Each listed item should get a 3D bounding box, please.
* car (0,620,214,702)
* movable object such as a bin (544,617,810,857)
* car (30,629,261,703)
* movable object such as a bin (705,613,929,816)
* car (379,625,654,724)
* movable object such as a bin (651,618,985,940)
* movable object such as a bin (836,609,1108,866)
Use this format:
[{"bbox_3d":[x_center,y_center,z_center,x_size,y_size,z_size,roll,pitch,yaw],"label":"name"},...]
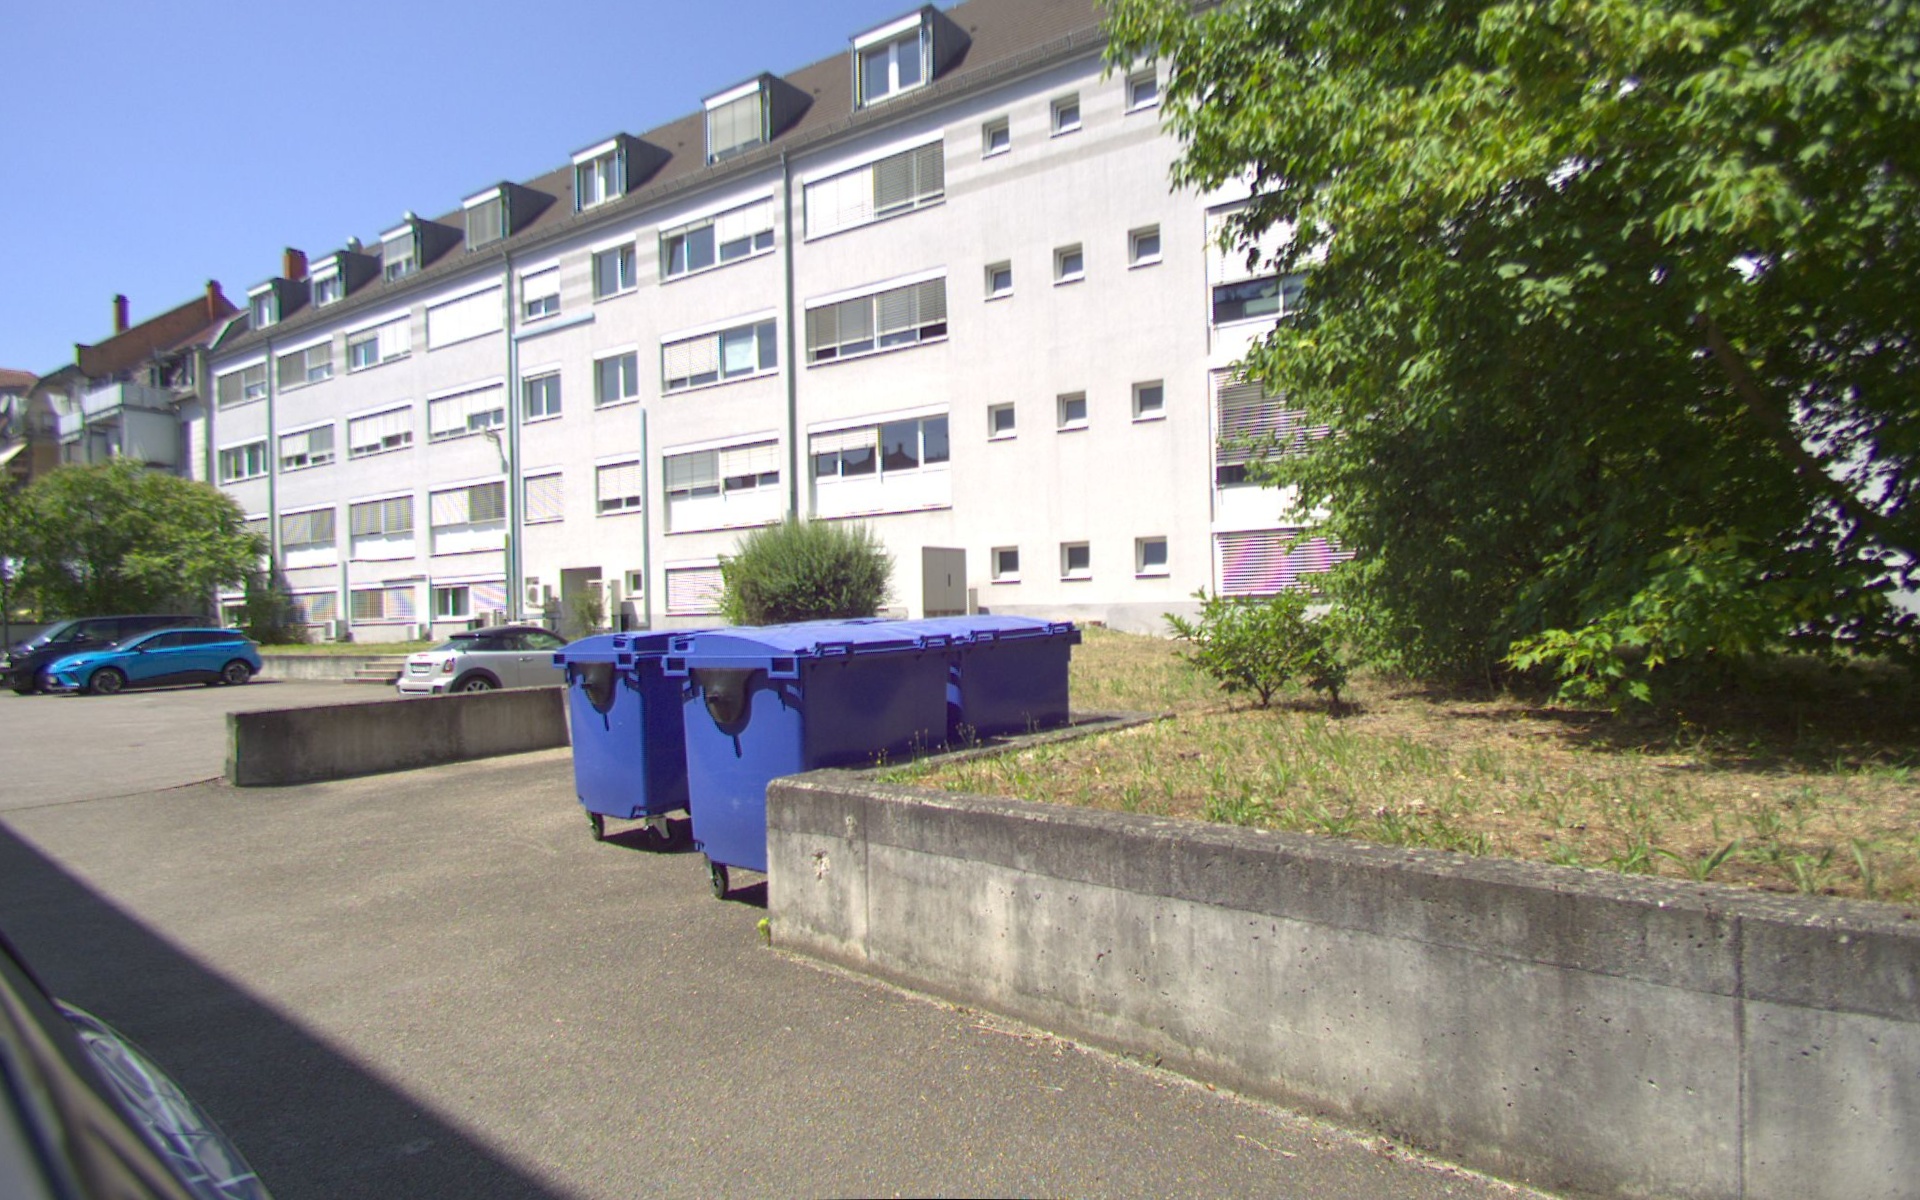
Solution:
[{"bbox_3d":[-22.484,1.515,26.462,1.995,1.846,4.398,-2,0,35],"label":"car"},{"bbox_3d":[-1.826,0.806,6.596,1.103,1.338,1.242,-2,-1,38],"label":"movable object such as a bin"},{"bbox_3d":[-20.112,1.567,25.172,1.854,1.565,4.123,-2,-1,33],"label":"car"},{"bbox_3d":[-1.066,0.794,7.648,1.103,1.338,1.242,-2,-1,38],"label":"movable object such as a bin"},{"bbox_3d":[-7.301,1.158,17.019,1.707,1.447,3.953,-2,-2,34],"label":"car"},{"bbox_3d":[-0.698,0.788,5.148,1.103,1.338,1.242,-2,-1,38],"label":"movable object such as a bin"},{"bbox_3d":[0.091,0.747,6.190,1.103,1.338,1.242,-2,-1,38],"label":"movable object such as a bin"}]
